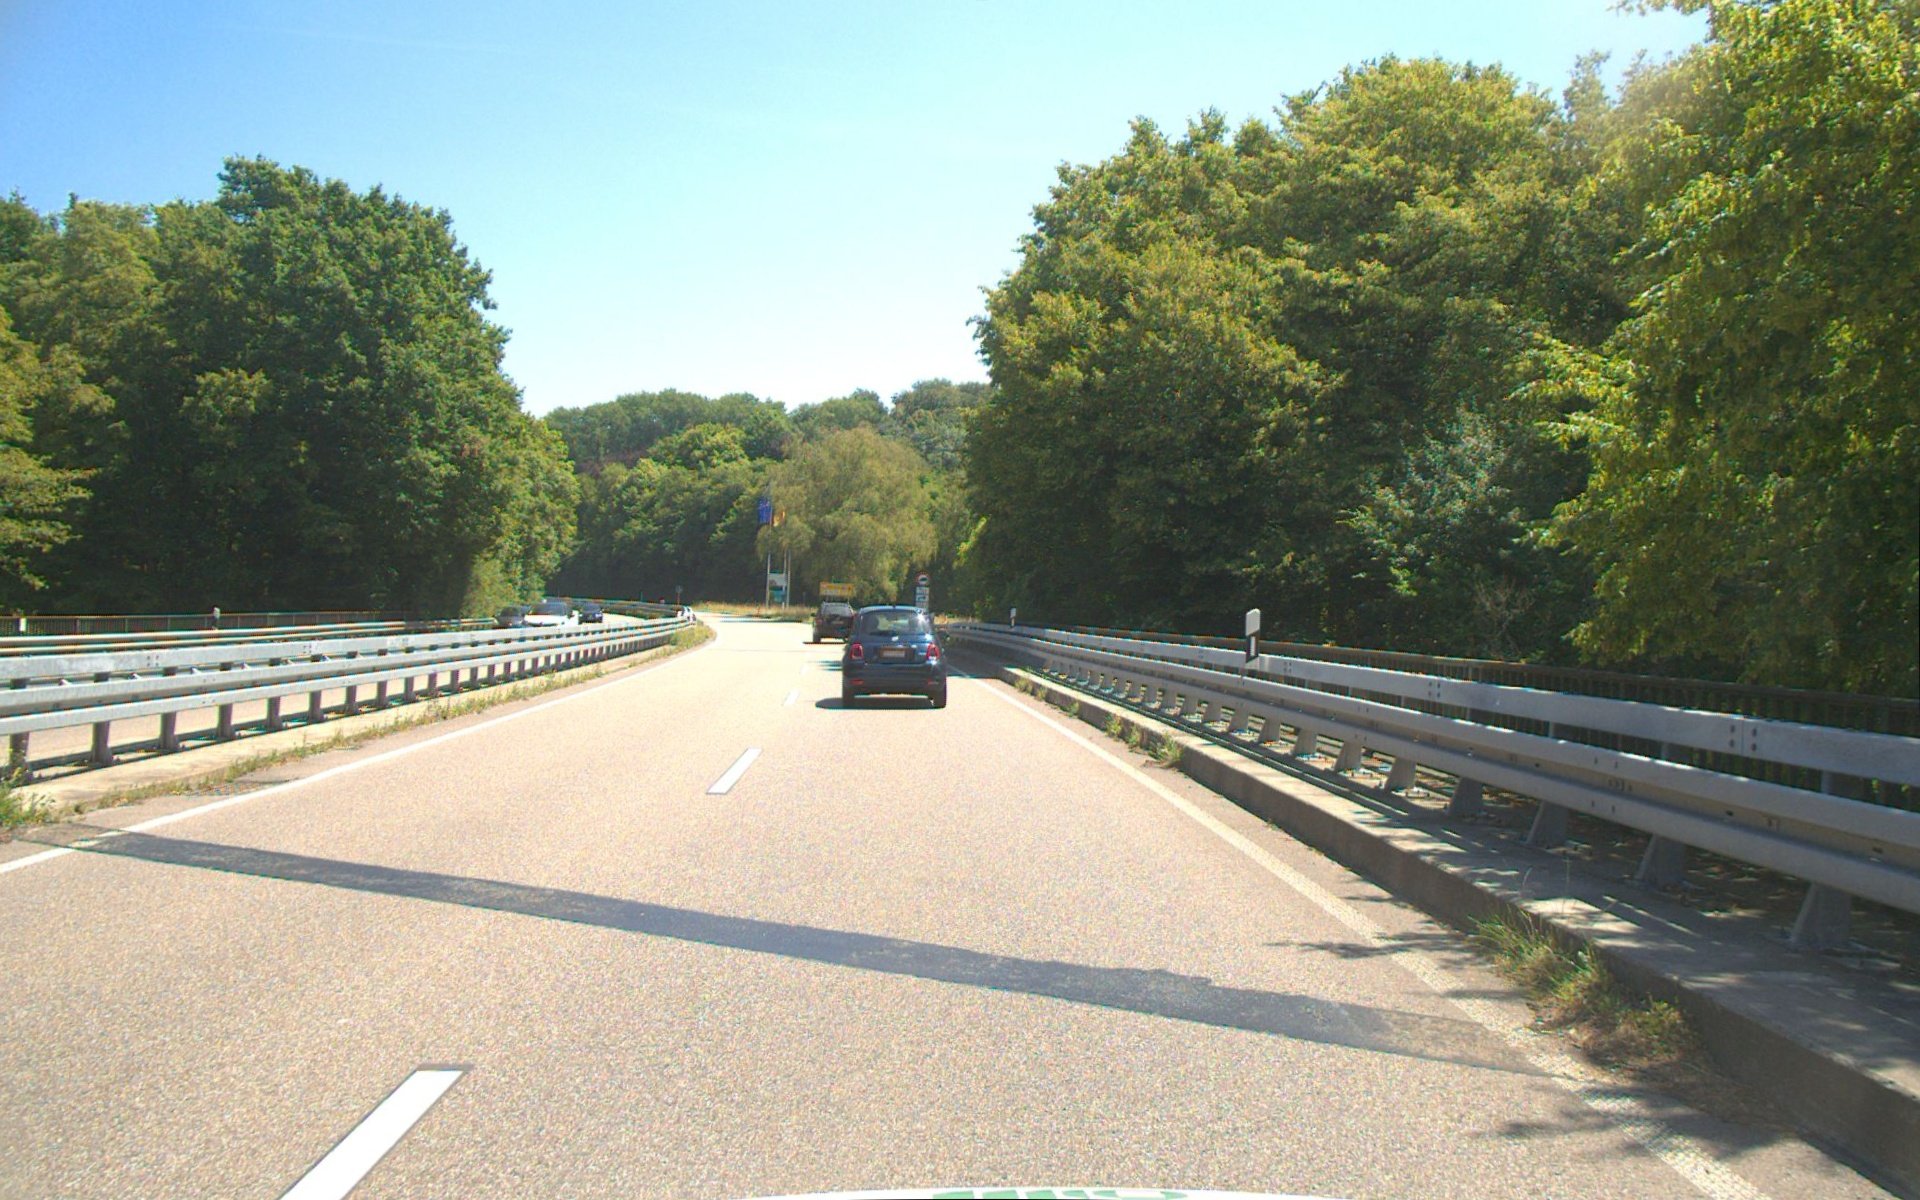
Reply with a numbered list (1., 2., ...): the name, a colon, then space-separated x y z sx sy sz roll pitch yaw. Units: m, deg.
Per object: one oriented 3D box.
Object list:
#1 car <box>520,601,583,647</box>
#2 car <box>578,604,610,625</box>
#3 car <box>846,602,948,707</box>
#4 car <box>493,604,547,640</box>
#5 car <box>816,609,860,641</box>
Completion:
1. car: -15.026 0.868 60.989 1.619 1.635 4.215 0 0 -5
2. car: -27.258 1.086 123.175 1.721 1.555 4.679 0 0 -5
3. car: -1.012 0.804 25.938 1.483 1.527 3.588 0 0 -3
4. car: -19.394 0.935 72.981 1.619 1.555 3.994 0 0 -5
5. car: -5.175 1.039 69.806 1.497 1.336 3.406 0 0 -10
